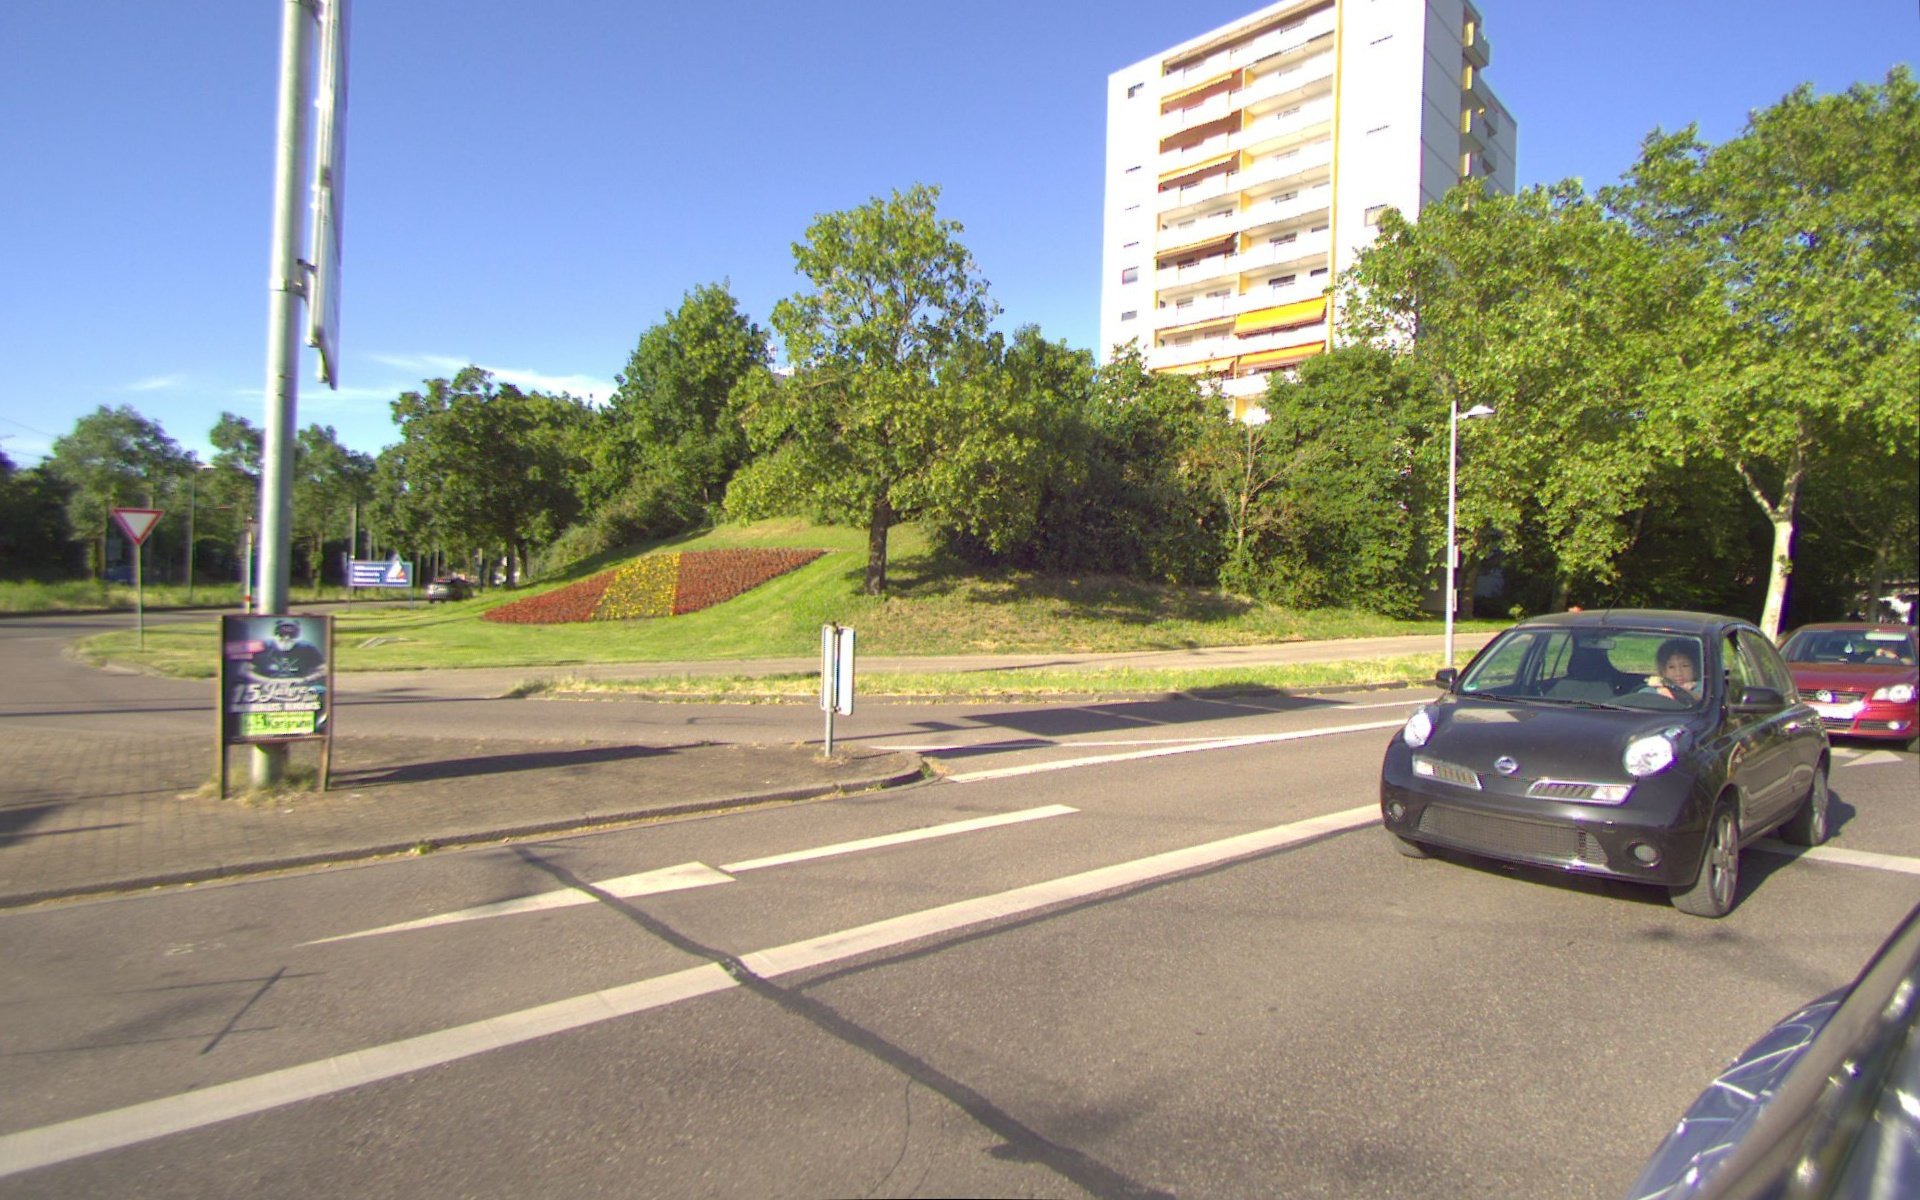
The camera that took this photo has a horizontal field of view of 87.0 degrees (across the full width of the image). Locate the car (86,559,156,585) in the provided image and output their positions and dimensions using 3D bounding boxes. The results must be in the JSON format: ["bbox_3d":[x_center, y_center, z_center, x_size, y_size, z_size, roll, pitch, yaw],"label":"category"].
[{"bbox_3d":[-61.368,-2.034,74.121,1.958,1.754,4.828,2,0,-13],"label":"car"}]

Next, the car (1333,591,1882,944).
[{"bbox_3d":[4.388,0.754,6.505,4.540,1.501,1.738,1,0,-41],"label":"car"}]

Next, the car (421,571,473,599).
[{"bbox_3d":[-33.389,-0.961,66.001,1.958,1.725,4.703,1,0,-14],"label":"car"}]

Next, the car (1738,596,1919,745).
[{"bbox_3d":[11.611,0.793,12.814,4.641,1.578,1.771,1,0,-39],"label":"car"}]
